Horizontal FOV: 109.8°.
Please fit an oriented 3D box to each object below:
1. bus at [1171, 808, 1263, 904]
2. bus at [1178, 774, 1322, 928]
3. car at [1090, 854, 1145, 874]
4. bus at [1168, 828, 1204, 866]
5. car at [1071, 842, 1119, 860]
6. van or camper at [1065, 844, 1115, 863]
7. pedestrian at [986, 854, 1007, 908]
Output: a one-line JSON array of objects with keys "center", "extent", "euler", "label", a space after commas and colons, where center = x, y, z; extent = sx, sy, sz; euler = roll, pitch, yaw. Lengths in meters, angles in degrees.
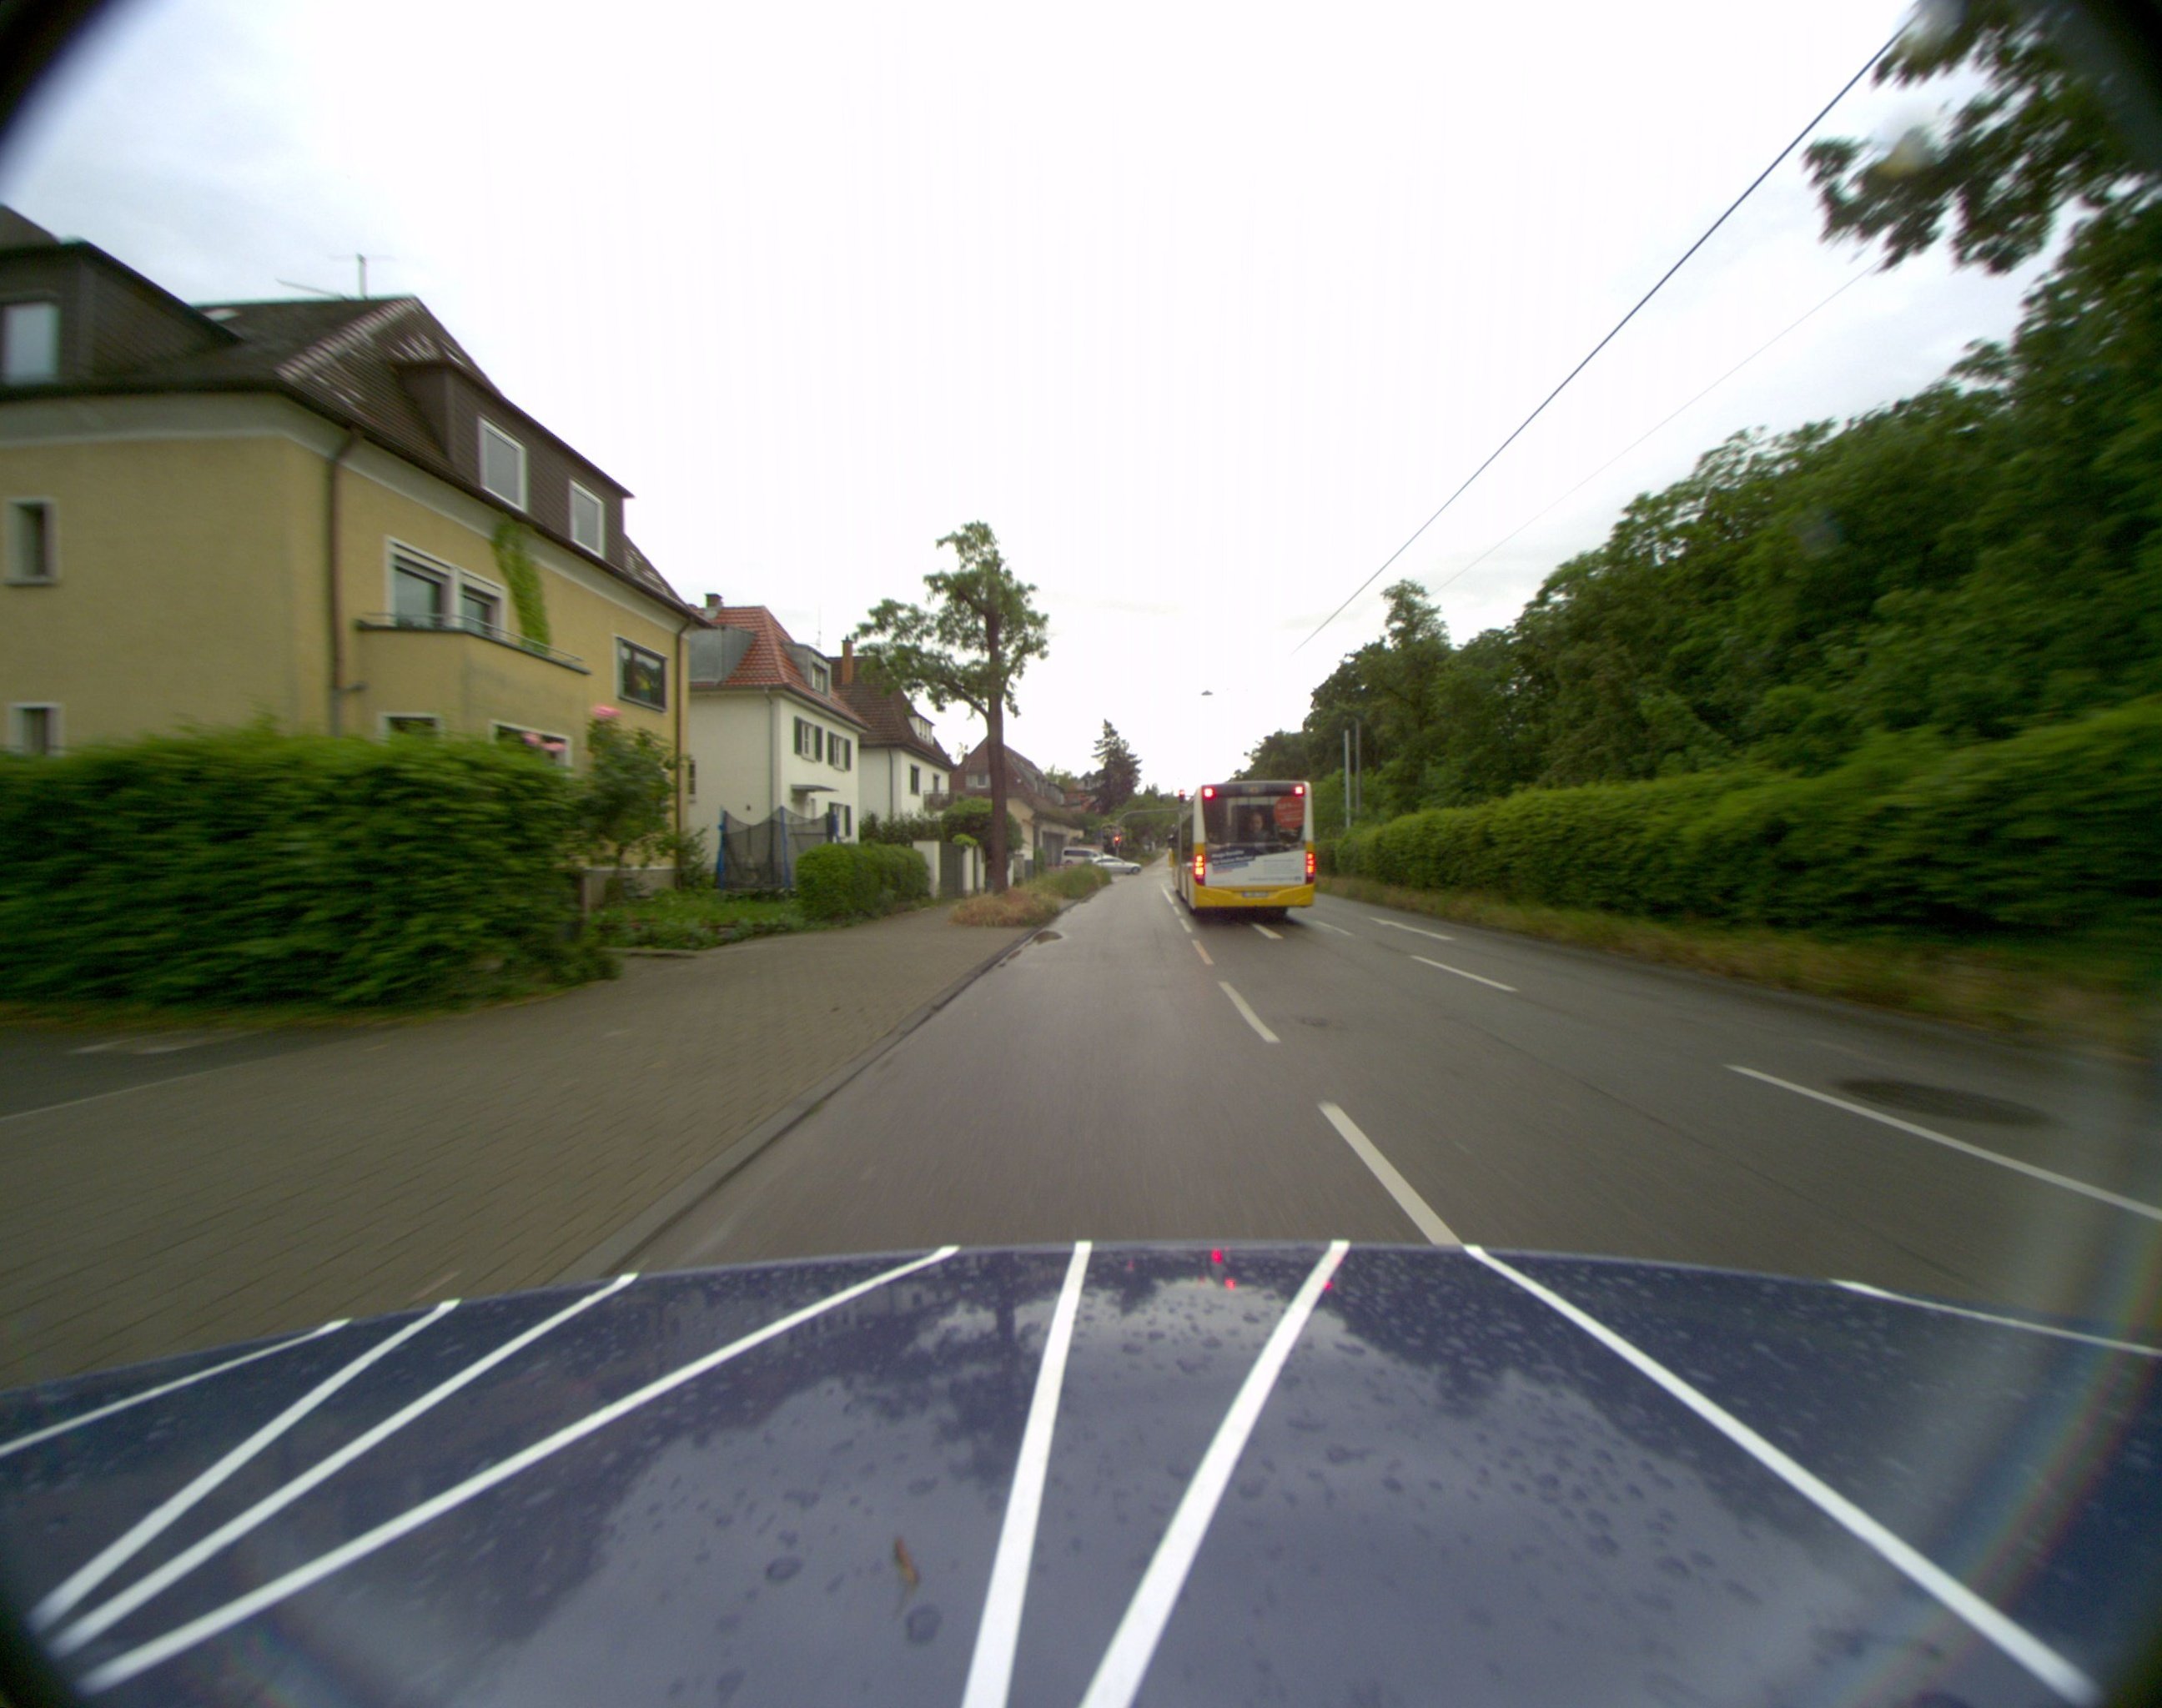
[{"center": [4.905, 0.041, 29.043], "extent": [2.649, 3.027, 9.233], "euler": [-1, 0, 5], "label": "bus"}, {"center": [4.052, -0.074, 20.104], "extent": [2.600, 3.139, 8.638], "euler": [-1, 0, 5], "label": "bus"}, {"center": [2.966, 0.763, 61.409], "extent": [4.003, 1.521, 1.997], "euler": [-1, 1, -18], "label": "car"}, {"center": [10.044, -0.624, 71.851], "extent": [2.681, 3.378, 8.688], "euler": [-1, 0, 12], "label": "bus"}, {"center": [1.603, -0.361, 86.575], "extent": [5.174, 2.002, 2.001], "euler": [-1, 2, 10], "label": "car"}, {"center": [0.998, -0.046, 83.604], "extent": [5.174, 2.002, 2.001], "euler": [-1, 2, 10], "label": "van or camper"}, {"center": [-2.431, 0.781, 21.829], "extent": [0.483, 1.525, 0.439], "euler": [-2, 1, 2], "label": "pedestrian"}]
